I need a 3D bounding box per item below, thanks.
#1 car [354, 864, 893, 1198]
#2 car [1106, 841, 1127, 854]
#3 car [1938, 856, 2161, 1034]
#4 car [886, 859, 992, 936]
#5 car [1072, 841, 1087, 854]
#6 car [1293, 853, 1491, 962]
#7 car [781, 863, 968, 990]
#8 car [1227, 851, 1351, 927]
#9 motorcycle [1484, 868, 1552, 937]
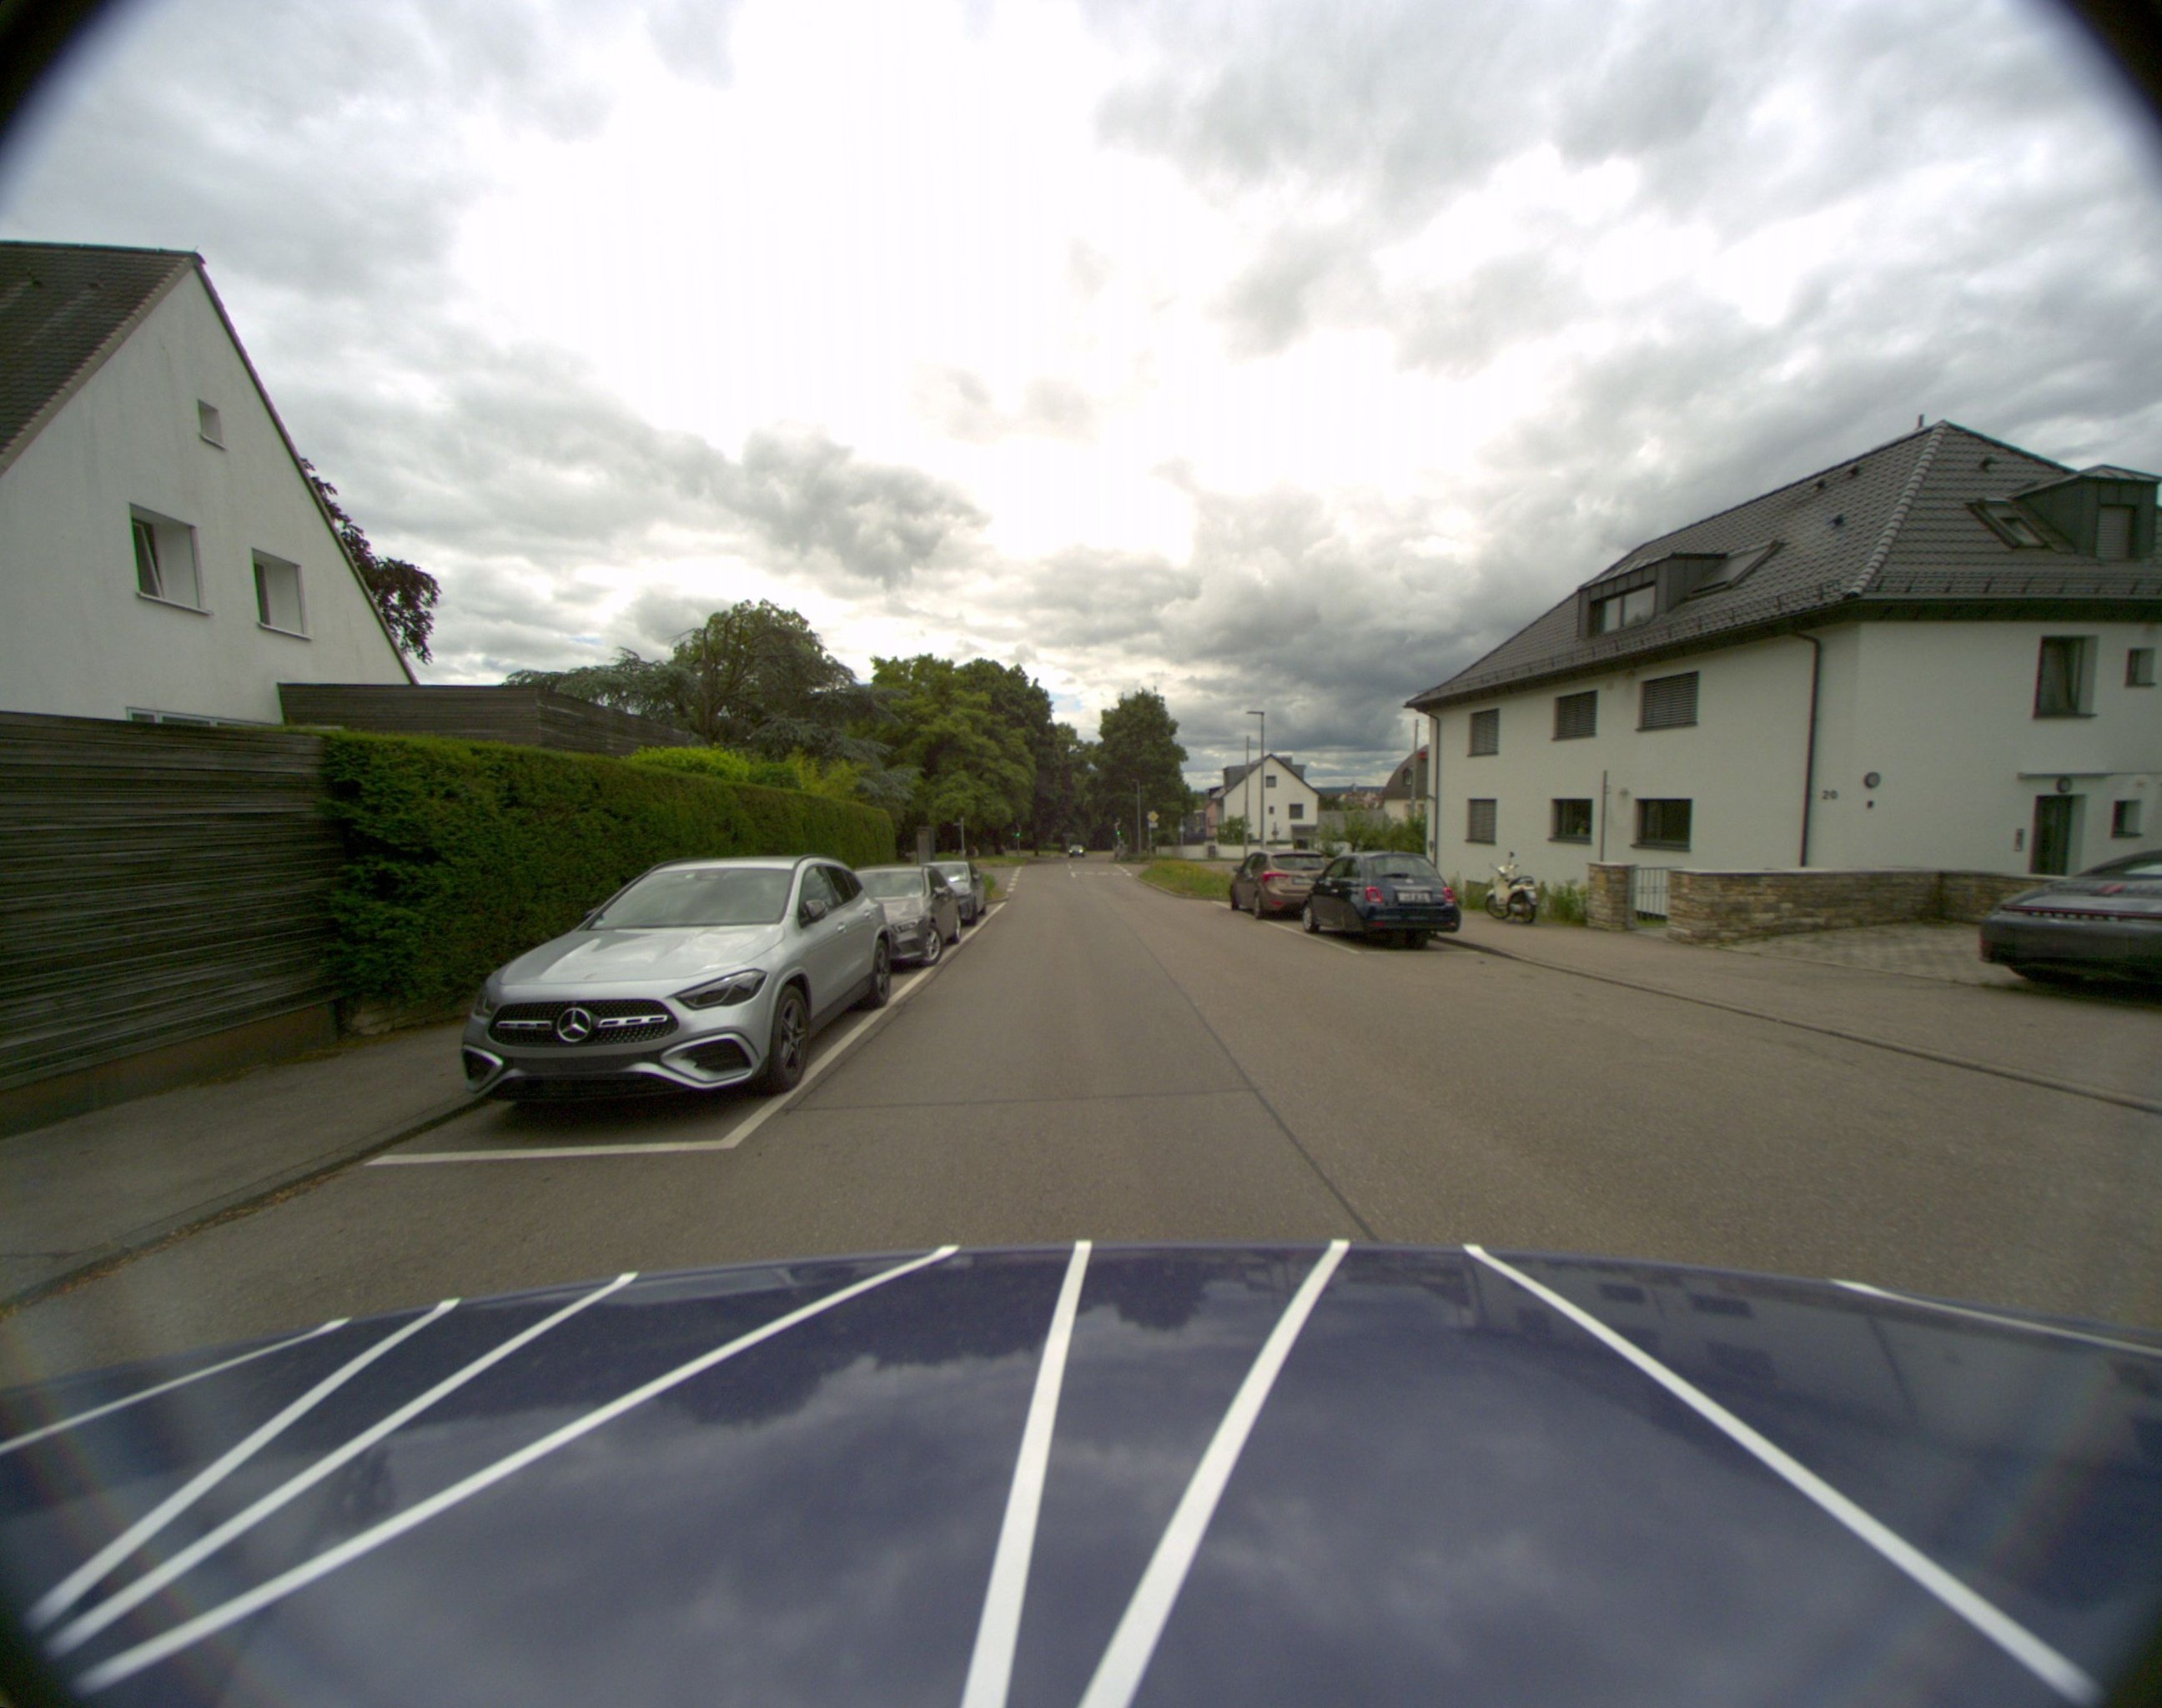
[{"bbox_3d":[-2.914,0.958,6.098,1.860,1.573,4.170,-2,1,-2],"label":"car"},{"bbox_3d":[4.627,-0.885,98.982,1.996,1.544,4.002,2,3,14],"label":"car"},{"bbox_3d":[10.750,0.718,6.825,4.299,1.360,1.903,-1,1,-6],"label":"car"},{"bbox_3d":[-3.204,0.920,17.929,1.860,1.456,3.998,-2,1,-2],"label":"car"},{"bbox_3d":[-0.155,-0.816,93.880,1.568,1.504,3.398,-1,1,5],"label":"car"},{"bbox_3d":[5.020,0.774,12.817,1.882,1.528,3.506,-1,1,0],"label":"car"},{"bbox_3d":[-2.940,0.947,11.784,1.860,1.456,4.170,-2,1,-2],"label":"car"},{"bbox_3d":[4.822,0.734,18.175,1.882,1.576,3.871,-1,1,0],"label":"car"},{"bbox_3d":[8.354,0.886,14.601,0.430,1.154,1.863,0,2,7],"label":"motorcycle"}]
